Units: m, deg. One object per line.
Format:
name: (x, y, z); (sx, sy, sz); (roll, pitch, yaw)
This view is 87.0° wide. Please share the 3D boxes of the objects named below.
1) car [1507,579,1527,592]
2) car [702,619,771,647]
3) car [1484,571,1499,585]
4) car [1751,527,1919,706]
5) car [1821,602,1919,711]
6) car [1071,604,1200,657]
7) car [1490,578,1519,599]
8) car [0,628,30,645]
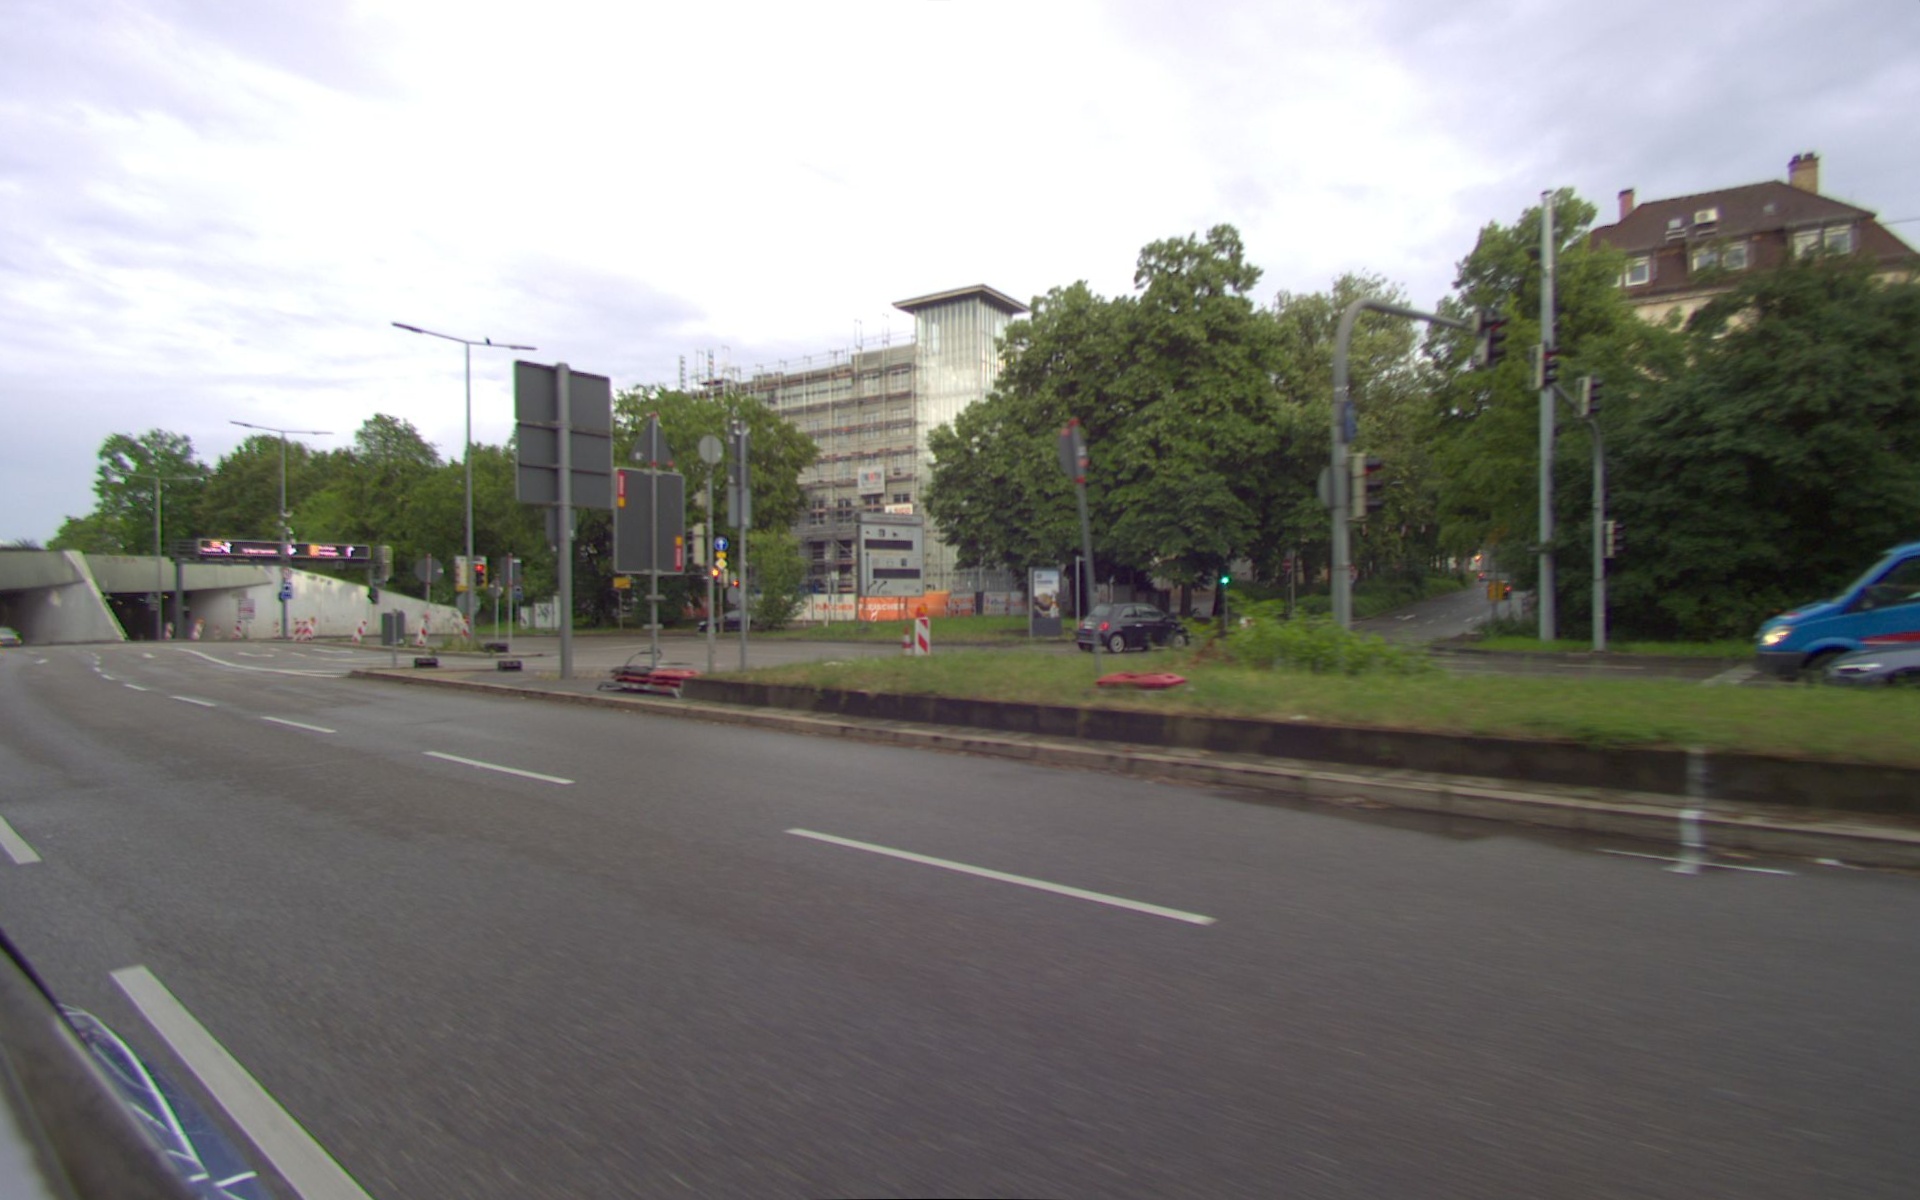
car: (55.854, -1.427, 101.431); (1.586, 1.173, 3.465); (-1, -1, 32)
car: (-12.202, 1.790, 55.475); (1.466, 1.299, 3.675); (-2, 1, 33)
car: (72.345, -2.980, 137.766); (1.586, 1.745, 3.465); (-1, -1, 32)
car: (14.694, 0.163, 13.548); (6.243, 2.409, 2.171); (-3, -2, 43)
car: (12.420, 0.614, 10.938); (4.648, 1.209, 1.531); (-1, -1, 45)
car: (5.177, 0.856, 29.822); (3.443, 1.452, 1.597); (0, -1, -26)
car: (45.137, -0.965, 83.819); (1.872, 1.670, 3.465); (-1, -1, 32)
car: (-75.828, 2.918, 80.851); (3.820, 1.317, 1.677); (-1, -2, 38)
